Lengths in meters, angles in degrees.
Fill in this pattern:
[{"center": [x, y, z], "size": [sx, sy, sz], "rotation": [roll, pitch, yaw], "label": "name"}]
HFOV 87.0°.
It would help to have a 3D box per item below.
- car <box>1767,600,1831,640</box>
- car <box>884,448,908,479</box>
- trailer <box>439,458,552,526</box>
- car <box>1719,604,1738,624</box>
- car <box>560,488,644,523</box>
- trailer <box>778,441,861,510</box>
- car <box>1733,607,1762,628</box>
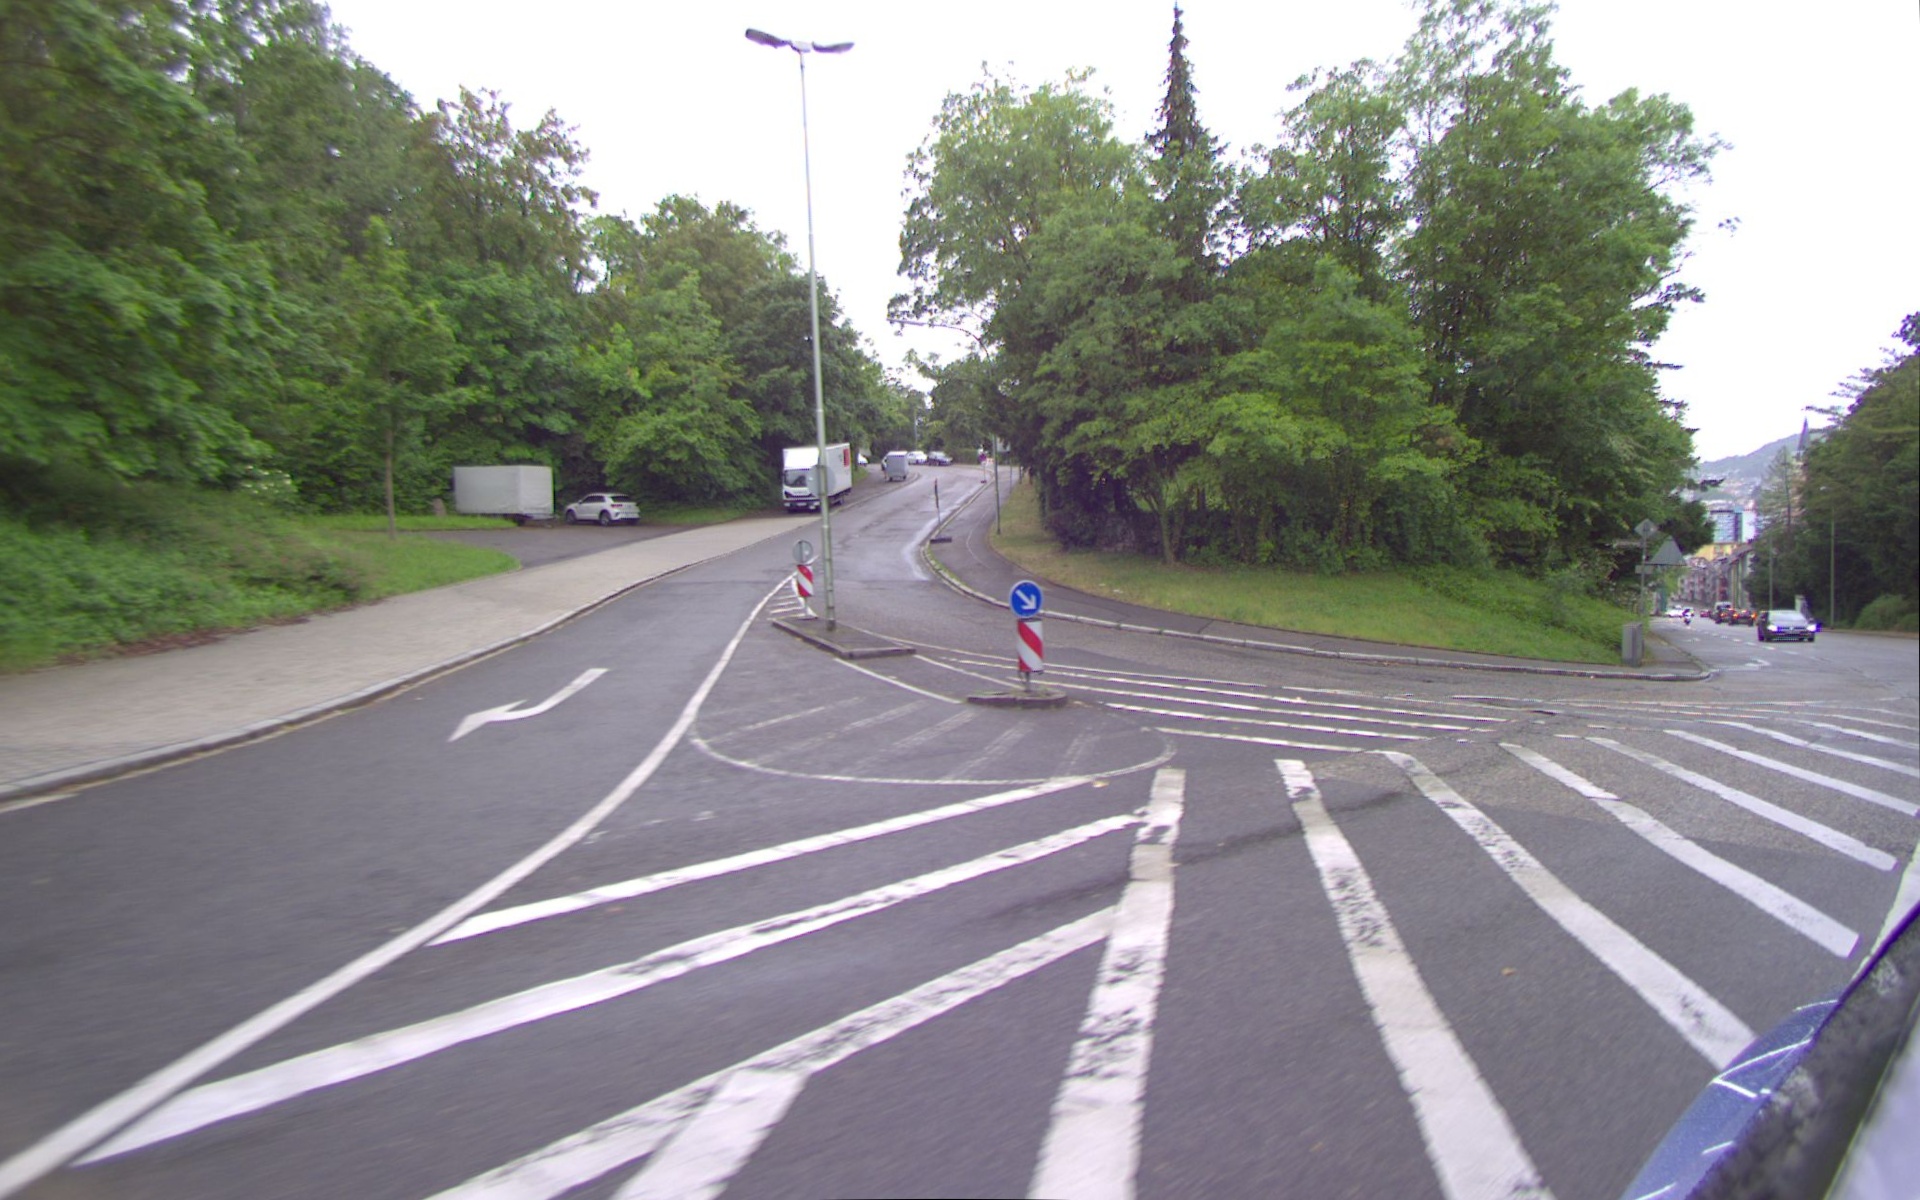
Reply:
[{"center": [39.060, 0.902, 47.205], "size": [2.025, 1.722, 3.948], "rotation": [1, 1, 36], "label": "car"}, {"center": [-5.214, -11.204, 83.237], "size": [1.677, 2.038, 3.892], "rotation": [1, 2, 0], "label": "car"}, {"center": [-21.463, -4.927, 46.706], "size": [5.216, 2.756, 1.981], "rotation": [0, 0, 27], "label": "trailer"}, {"center": [78.861, 1.415, 103.828], "size": [1.500, 2.039, 3.946], "rotation": [0, 0, 37], "label": "car"}, {"center": [-17.362, -4.577, 49.015], "size": [3.962, 1.512, 1.492], "rotation": [3, 2, 27], "label": "car"}, {"center": [-7.671, -7.057, 56.452], "size": [2.241, 3.334, 8.026], "rotation": [2, 10, 9], "label": "trailer"}, {"center": [72.409, 1.585, 93.077], "size": [1.988, 1.839, 3.948], "rotation": [0, 0, 36], "label": "car"}]
